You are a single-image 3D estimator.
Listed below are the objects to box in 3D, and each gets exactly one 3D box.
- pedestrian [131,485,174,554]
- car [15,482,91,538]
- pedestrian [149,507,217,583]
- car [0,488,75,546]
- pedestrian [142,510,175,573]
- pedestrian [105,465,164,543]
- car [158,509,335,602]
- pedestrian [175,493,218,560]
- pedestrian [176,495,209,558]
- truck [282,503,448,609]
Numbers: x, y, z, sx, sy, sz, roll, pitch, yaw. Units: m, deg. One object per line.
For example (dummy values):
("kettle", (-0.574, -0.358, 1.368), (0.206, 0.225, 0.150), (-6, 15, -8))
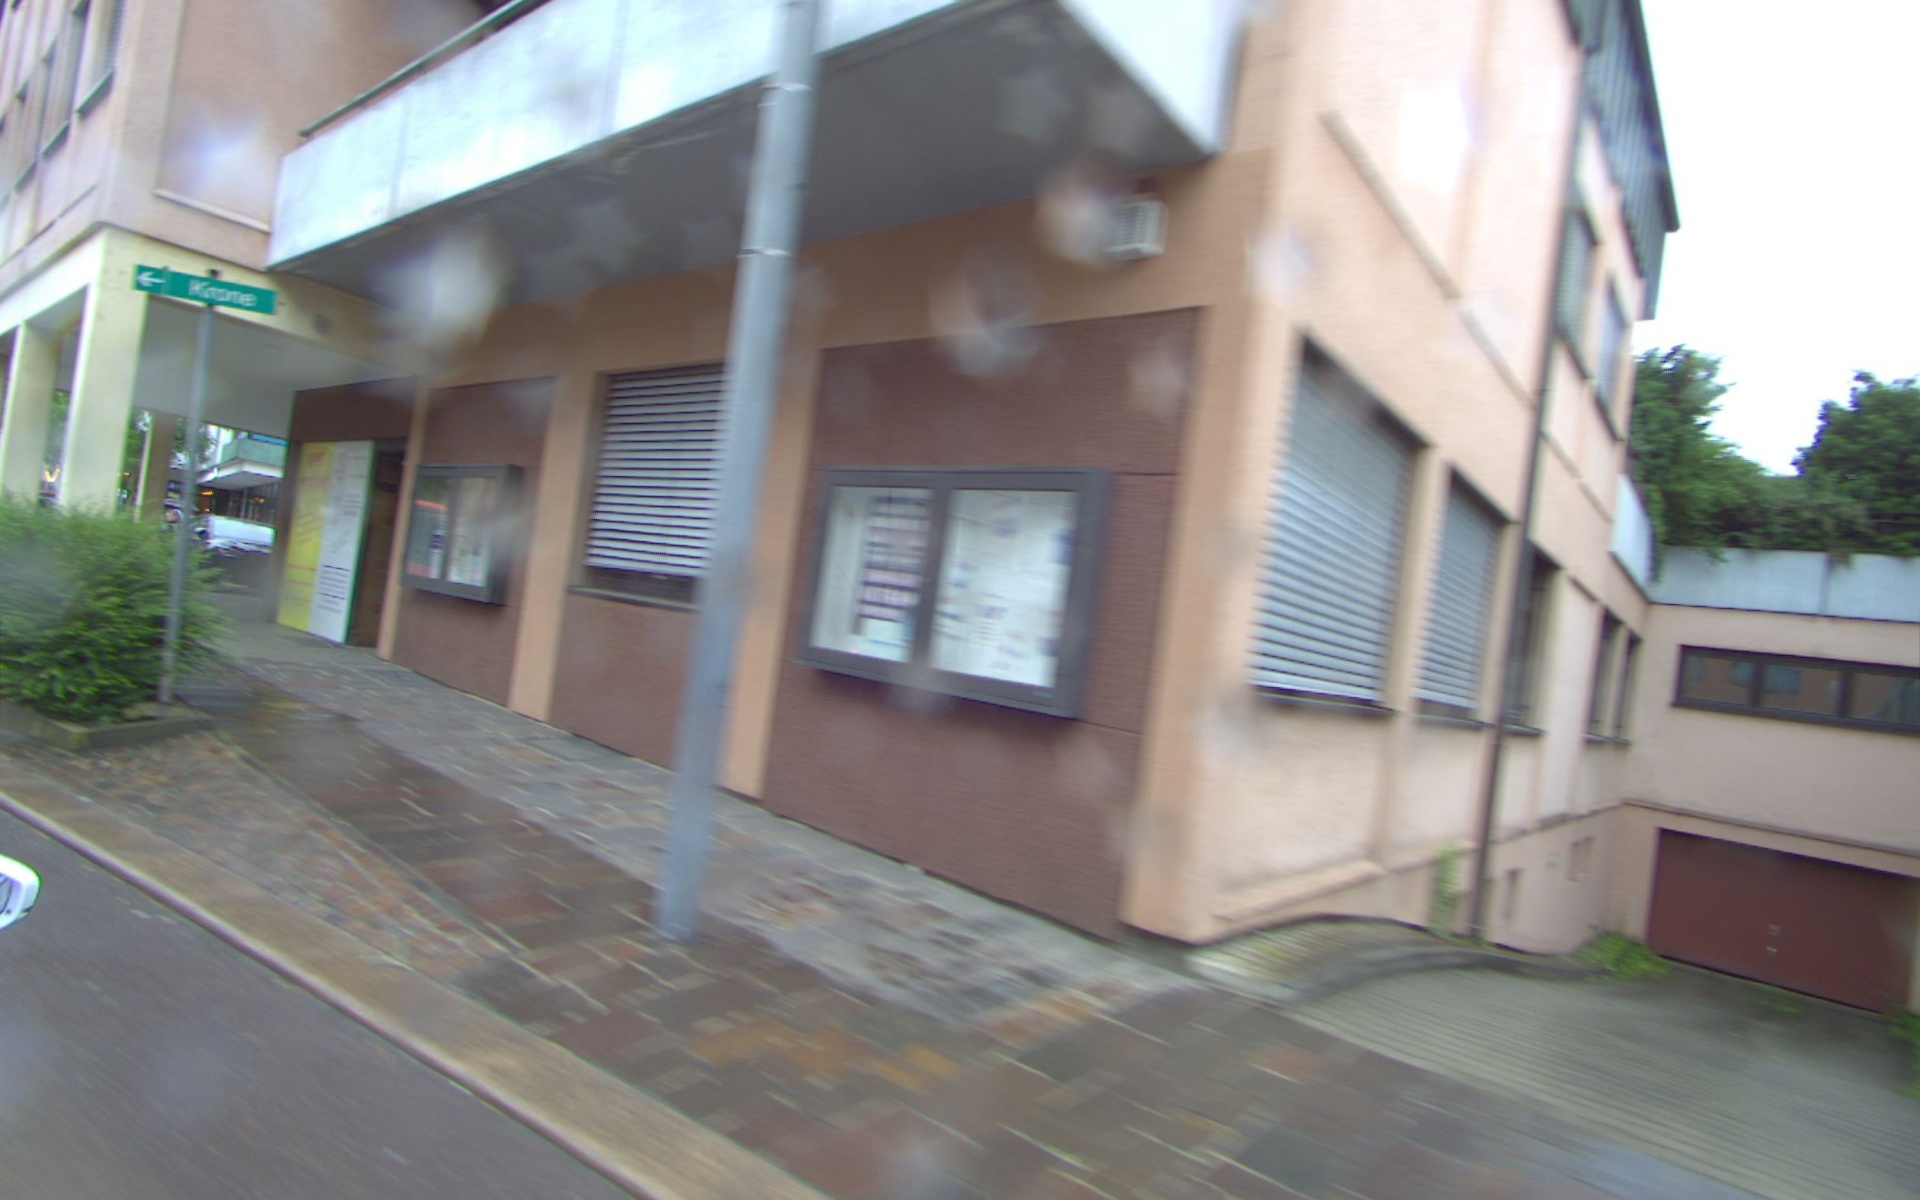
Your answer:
("pedestrian", (-22.420, -2.227, 27.929), (0.731, 1.769, 0.882), (8, -1, -42))
("car", (-29.710, -2.956, 32.907), (1.619, 1.520, 3.949), (5, 1, -44))
("pedestrian", (-18.836, -1.320, 24.410), (0.953, 1.658, 0.731), (8, -1, -19))
("car", (-26.755, -2.403, 28.944), (1.530, 1.377, 3.339), (10, -2, -37))
("pedestrian", (-20.461, -1.499, 25.685), (0.495, 1.526, 0.485), (8, -1, -41))
("pedestrian", (-19.592, -2.259, 23.892), (0.689, 1.681, 0.817), (8, -1, -20))
("car", (-14.132, -0.909, 19.821), (4.408, 1.290, 1.762), (7, -2, 41))
("pedestrian", (-20.729, -1.988, 27.303), (0.732, 1.709, 0.633), (7, -1, 42))
("pedestrian", (-21.581, -2.056, 28.295), (0.538, 1.683, 0.515), (8, -1, -40))
("truck", (-12.985, -0.993, 21.857), (3.943, 1.829, 1.762), (7, -2, 41))
